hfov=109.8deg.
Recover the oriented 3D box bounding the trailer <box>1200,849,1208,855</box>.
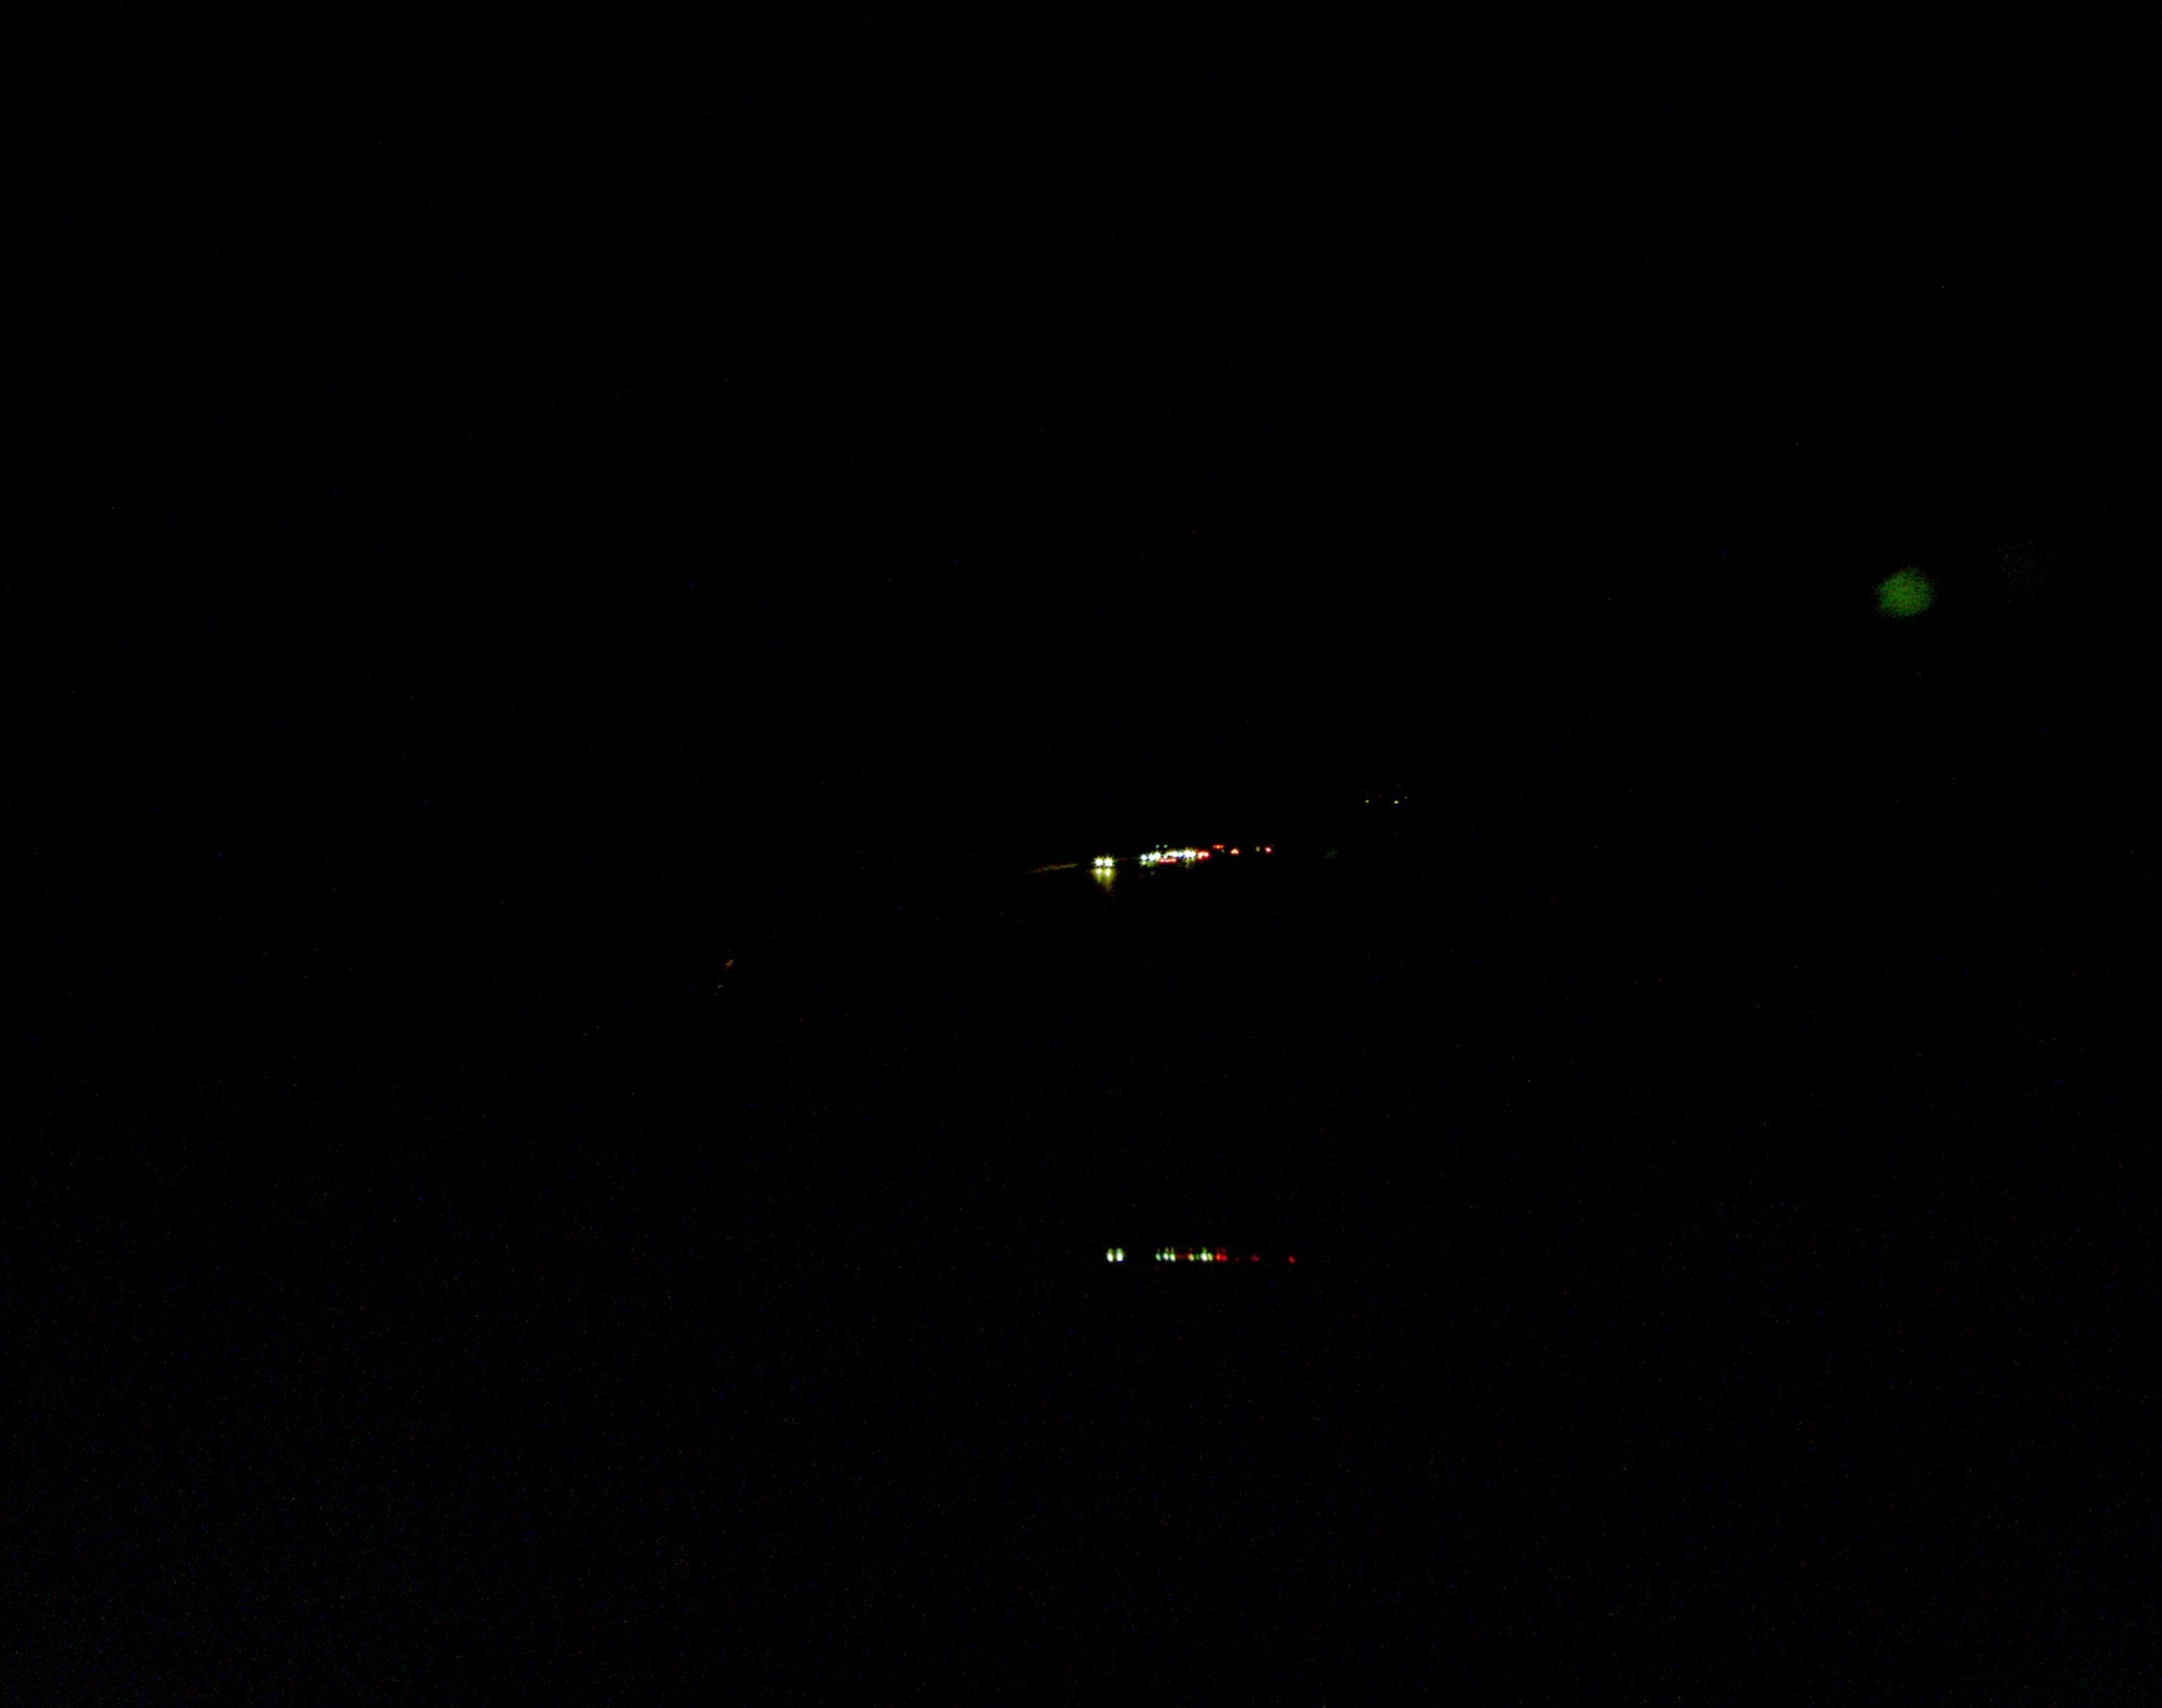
[{"bbox_3d":[29.885,-0.581,184.372,1.887,1.418,3.353,0,0,8],"label":"trailer"}]

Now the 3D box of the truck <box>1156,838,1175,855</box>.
[{"bbox_3d":[21.454,-1.977,192.866,2.969,4.250,17.157,0,1,12],"label":"truck"}]

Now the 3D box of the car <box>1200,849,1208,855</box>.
[{"bbox_3d":[30.518,-0.565,188.467,1.916,1.418,4.955,0,0,8],"label":"car"}]

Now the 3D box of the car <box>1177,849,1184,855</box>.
[{"bbox_3d":[28.192,-0.670,215.179,1.690,1.619,4.726,0,0,10],"label":"car"}]

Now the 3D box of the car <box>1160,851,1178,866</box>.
[{"bbox_3d":[9.835,0.475,85.017,1.822,1.507,4.524,0,1,5],"label":"car"}]

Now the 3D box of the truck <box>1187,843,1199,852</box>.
[{"bbox_3d":[31.658,-1.840,214.443,2.424,2.410,7.099,0,1,14],"label":"truck"}]

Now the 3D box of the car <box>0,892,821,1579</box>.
[{"bbox_3d":[-3.267,1.036,4.271,1.812,1.418,4.875,0,0,2],"label":"car"}]

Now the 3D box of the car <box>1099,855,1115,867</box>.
[{"bbox_3d":[3.247,0.891,93.878,1.812,1.508,3.937,0,0,5],"label":"car"}]

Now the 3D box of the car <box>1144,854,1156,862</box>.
[{"bbox_3d":[13.323,0.857,146.983,1.811,1.508,3.939,0,0,11],"label":"car"}]

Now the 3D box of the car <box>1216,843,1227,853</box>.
[{"bbox_3d":[41.628,-1.815,225.202,2.489,3.088,7.393,0,1,17],"label":"car"}]
